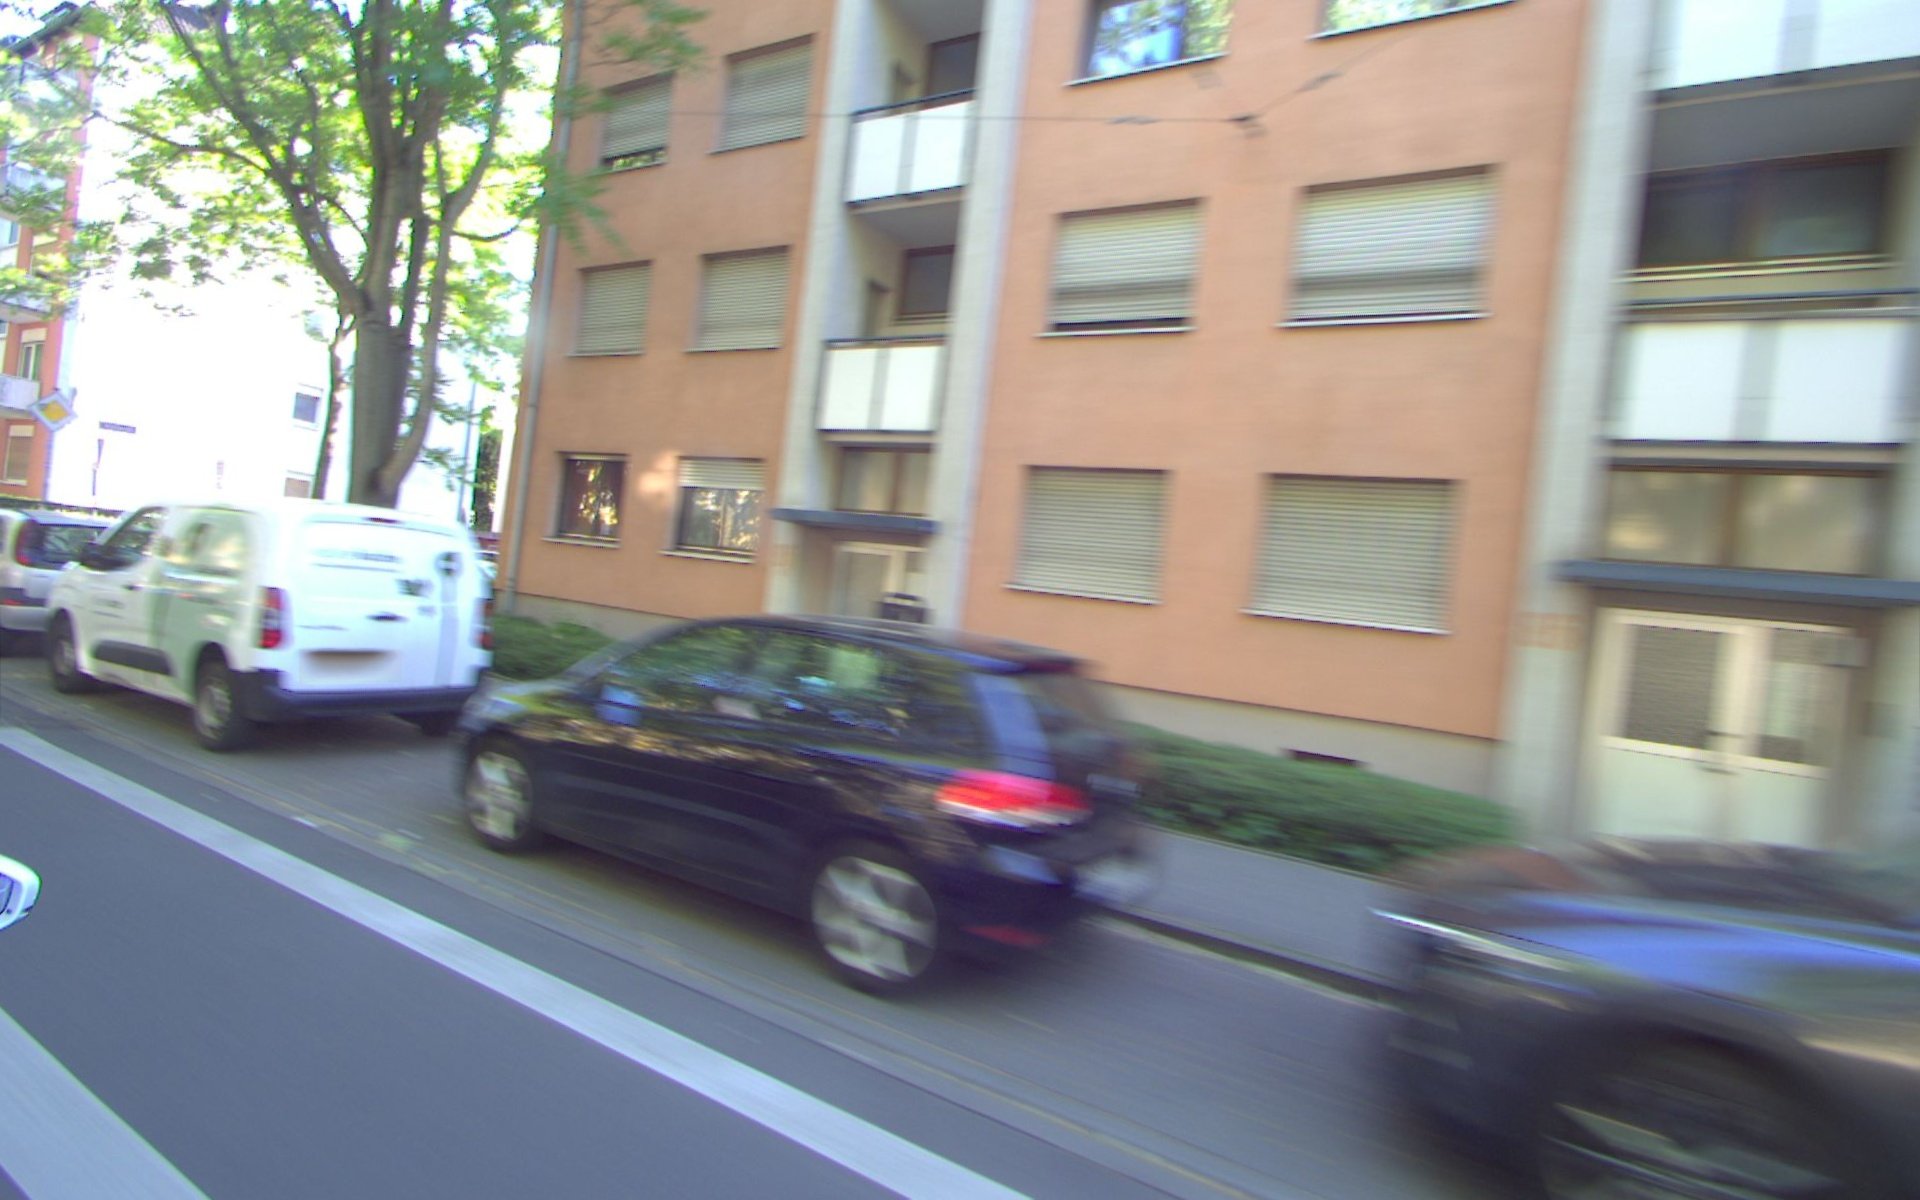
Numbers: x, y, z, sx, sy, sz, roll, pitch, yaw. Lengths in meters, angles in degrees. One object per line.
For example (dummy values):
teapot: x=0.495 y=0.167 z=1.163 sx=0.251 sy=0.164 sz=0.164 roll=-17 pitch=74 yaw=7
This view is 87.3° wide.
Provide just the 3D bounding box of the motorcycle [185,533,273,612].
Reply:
motorcycle: x=-14.048 y=-0.547 z=19.316 sx=2.224 sy=1.313 sz=0.678 roll=6 pitch=-1 yaw=38

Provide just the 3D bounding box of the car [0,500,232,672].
car: x=-9.799 y=-0.252 z=10.832 sx=3.934 sy=1.491 sz=1.708 roll=7 pitch=0 yaw=32

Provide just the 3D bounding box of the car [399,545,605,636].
car: x=-10.723 y=-0.197 z=23.752 sx=3.926 sy=1.559 sz=1.727 roll=7 pitch=-1 yaw=0

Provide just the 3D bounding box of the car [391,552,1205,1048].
car: x=-1.020 y=0.735 z=5.429 sx=4.099 sy=1.491 sz=1.708 roll=7 pitch=0 yaw=32

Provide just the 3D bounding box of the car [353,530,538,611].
car: x=-16.134 y=-0.881 z=31.816 sx=1.972 sy=1.814 sz=4.729 roll=10 pitch=1 yaw=30

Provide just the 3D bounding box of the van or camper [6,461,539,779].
van or camper: x=-5.848 y=0.024 z=8.359 sx=4.750 sy=1.887 sz=1.757 roll=7 pitch=0 yaw=32

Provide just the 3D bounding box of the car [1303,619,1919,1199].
car: x=3.385 y=1.106 z=2.688 sx=4.265 sy=1.592 sz=1.769 roll=7 pitch=1 yaw=32
